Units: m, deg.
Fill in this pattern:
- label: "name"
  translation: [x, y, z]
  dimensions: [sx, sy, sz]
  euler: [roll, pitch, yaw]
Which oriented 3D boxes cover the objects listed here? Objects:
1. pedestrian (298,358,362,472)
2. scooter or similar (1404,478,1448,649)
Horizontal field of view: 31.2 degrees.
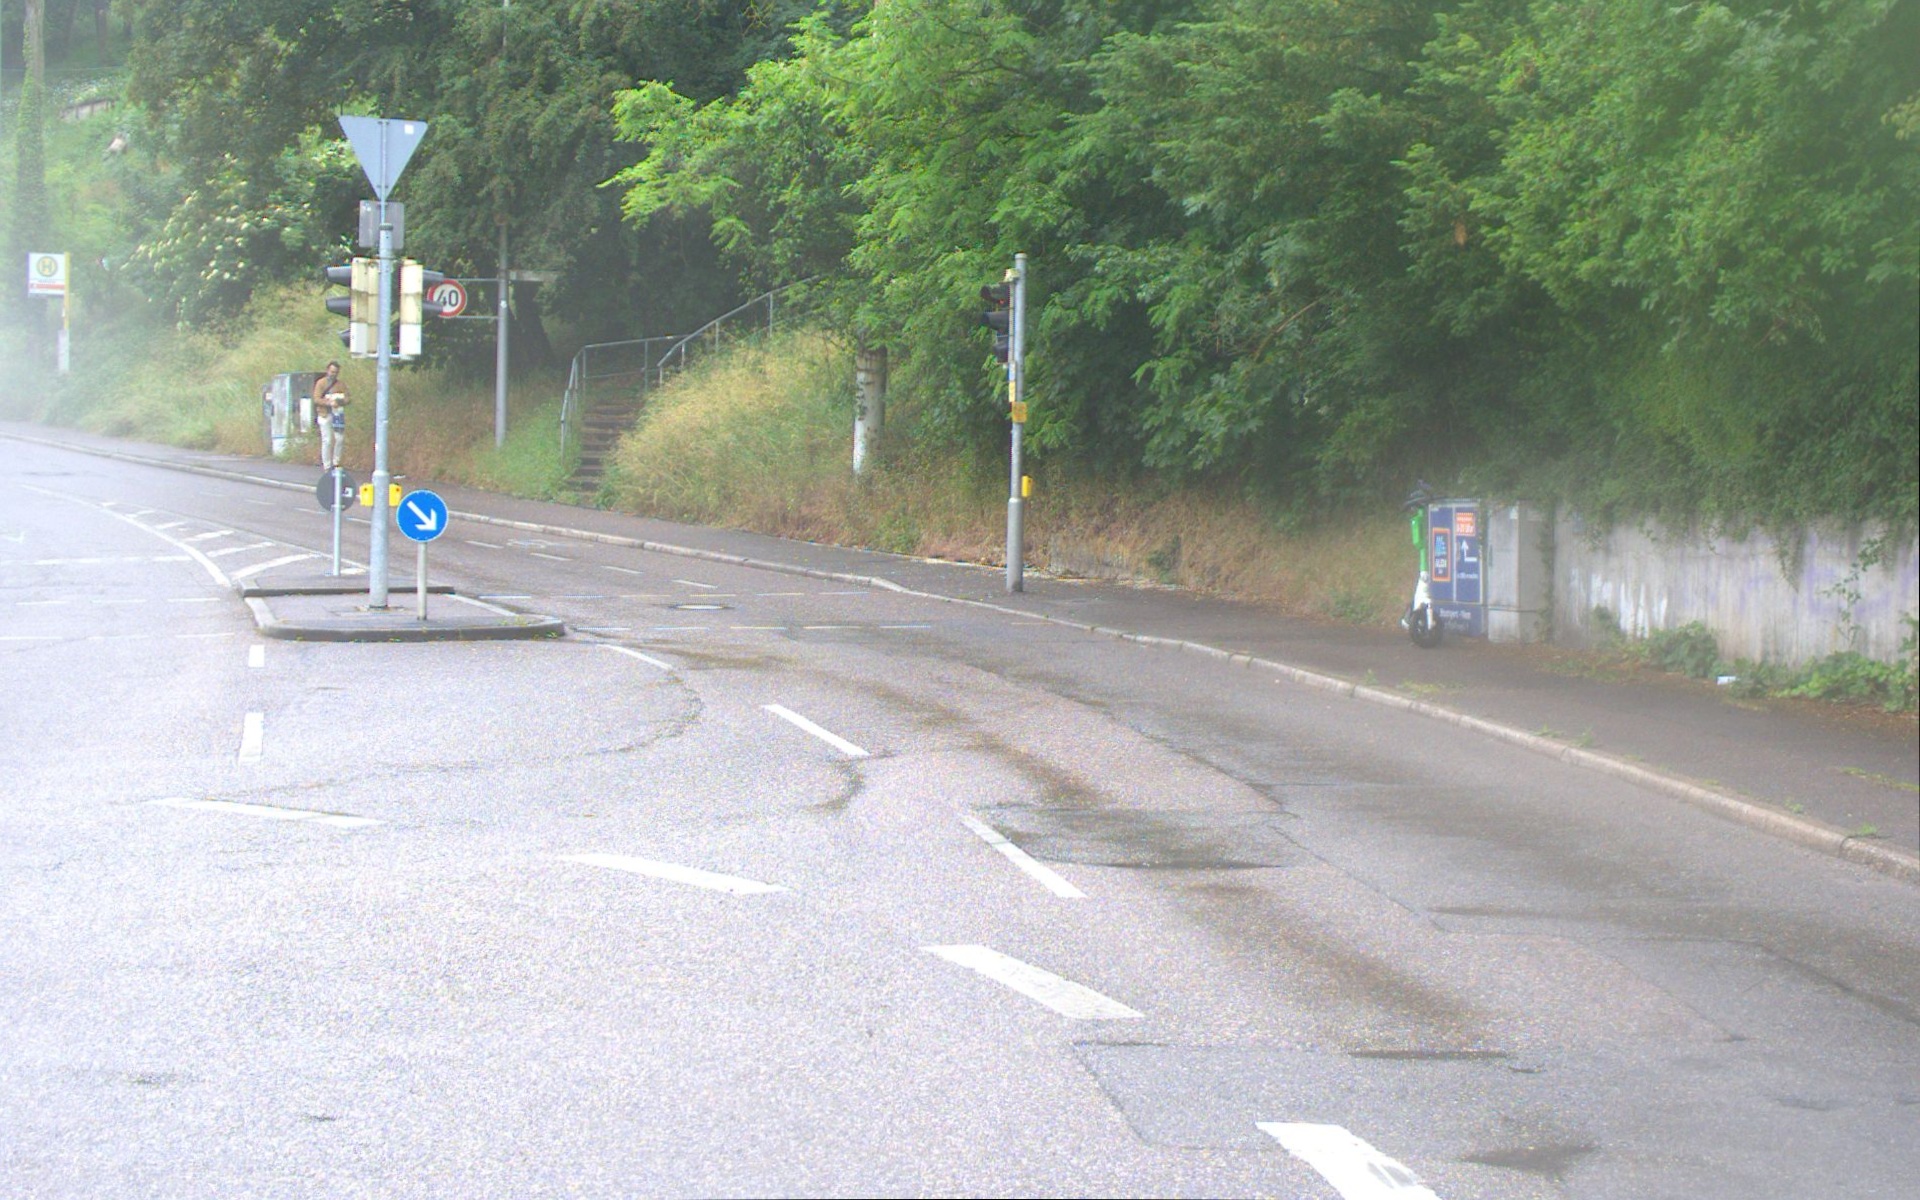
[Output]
- label: "pedestrian"
  translation: [-9.850, -2.883, 53.716]
  dimensions: [0.880, 1.730, 0.866]
  euler: [0, 0, -17]
- label: "scooter or similar"
  translation: [3.590, -0.292, 26.477]
  dimensions: [0.322, 1.275, 0.751]
  euler: [0, 4, 7]
